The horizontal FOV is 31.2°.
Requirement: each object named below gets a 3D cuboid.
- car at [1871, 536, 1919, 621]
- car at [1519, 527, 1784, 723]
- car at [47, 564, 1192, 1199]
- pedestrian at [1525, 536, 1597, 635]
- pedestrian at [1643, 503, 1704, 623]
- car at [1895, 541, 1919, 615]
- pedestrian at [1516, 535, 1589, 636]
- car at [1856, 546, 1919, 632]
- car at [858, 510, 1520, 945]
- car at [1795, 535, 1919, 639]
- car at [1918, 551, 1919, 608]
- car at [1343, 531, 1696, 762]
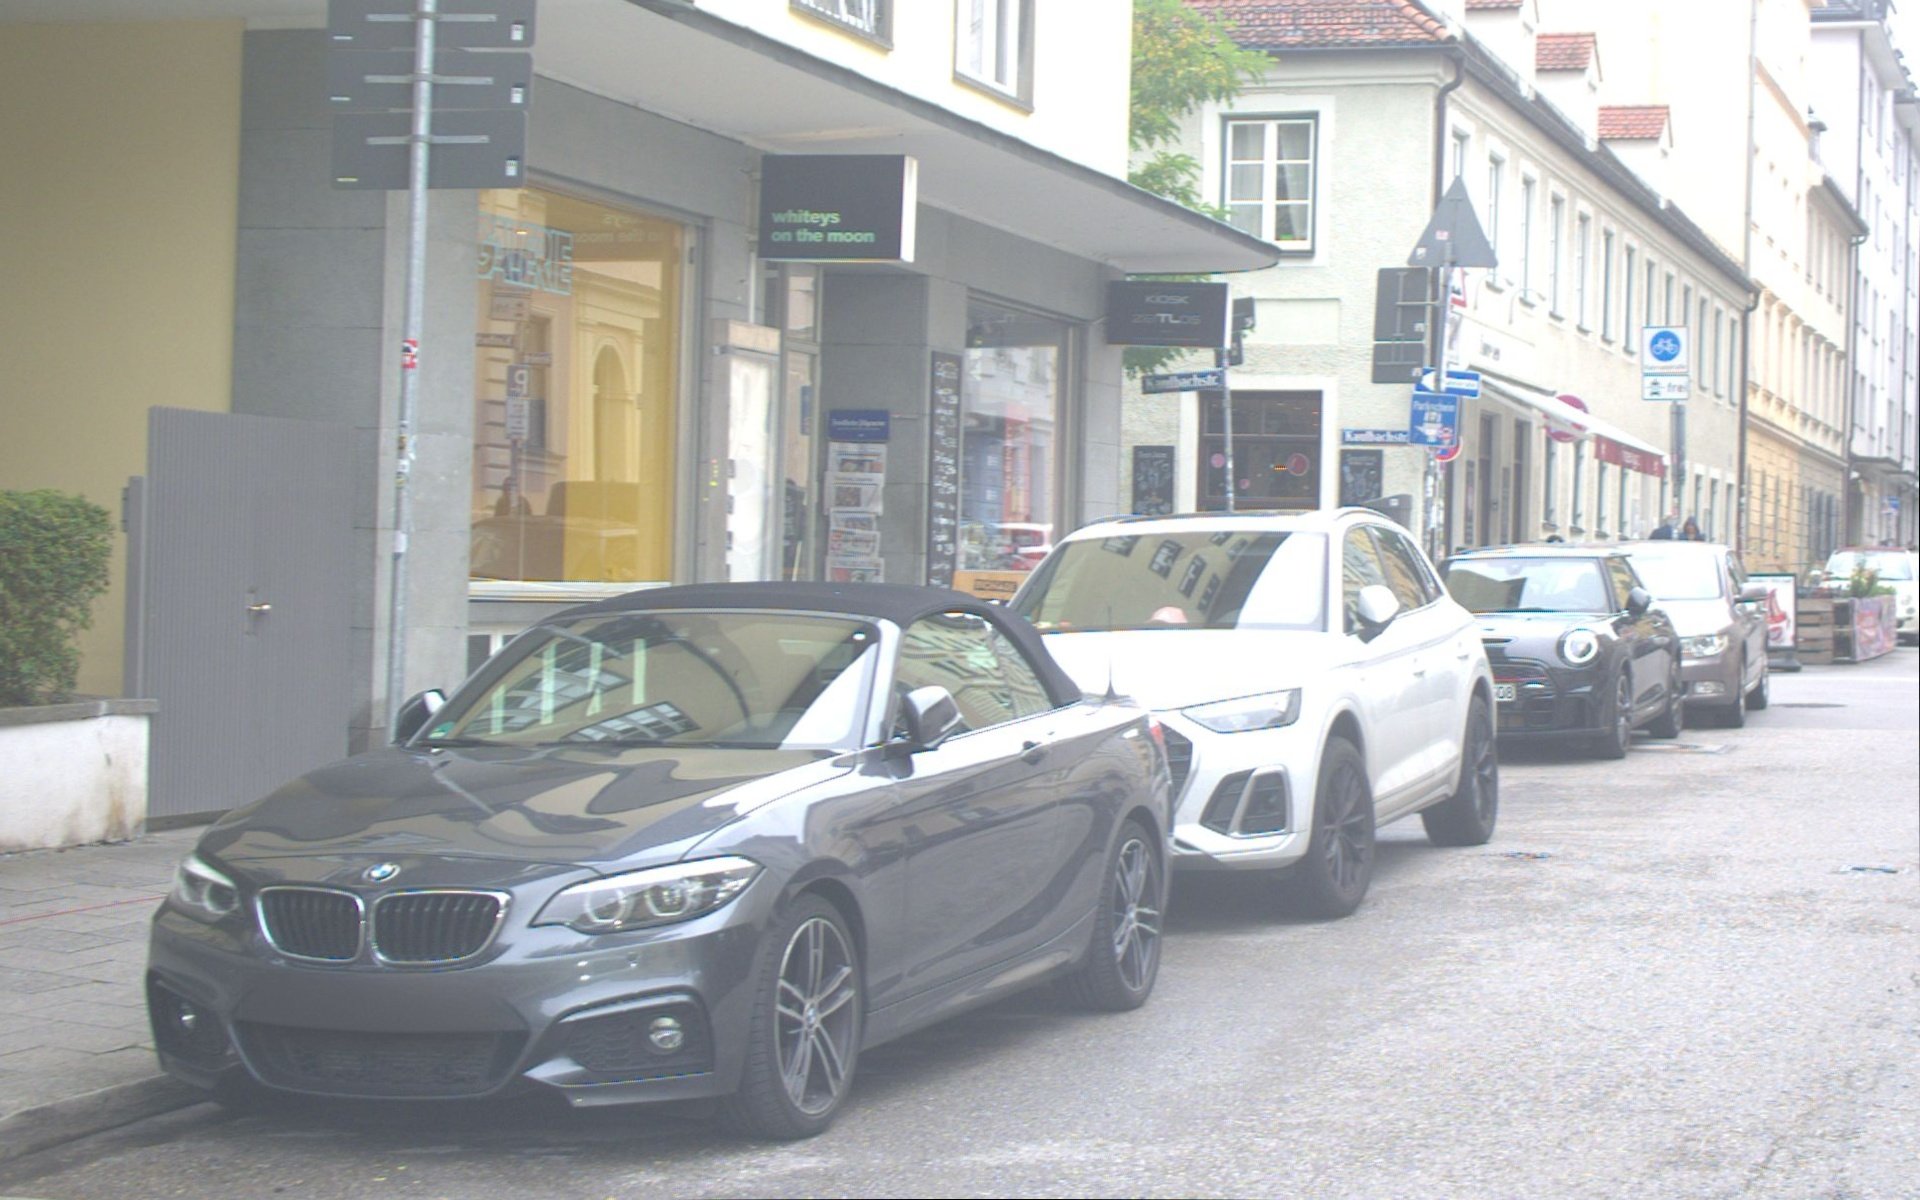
[{"bbox_3d":[17.761,-0.383,63.253,1.756,1.491,4.197,2,1,17],"label":"car"},{"bbox_3d":[5.808,0.146,28.462,1.680,1.466,4.946,1,1,17],"label":"car"},{"bbox_3d":[-0.718,0.622,10.011,1.747,1.406,4.094,0,1,19],"label":"car"},{"bbox_3d":[7.985,-0.184,45.646,0.804,1.285,0.693,2,0,20],"label":"pedestrian"},{"bbox_3d":[11.475,-0.591,55.272,0.823,1.891,0.827,2,0,19],"label":"pedestrian"},{"bbox_3d":[19.505,-0.451,68.183,1.817,1.436,4.128,1,1,16],"label":"car"},{"bbox_3d":[7.754,-0.187,44.961,0.804,1.285,0.693,2,0,20],"label":"pedestrian"},{"bbox_3d":[16.191,-0.206,57.833,1.800,1.334,4.681,2,2,18],"label":"car"},{"bbox_3d":[1.178,0.415,15.120,1.804,1.578,4.334,0,2,19],"label":"car"},{"bbox_3d":[13.877,-0.218,52.913,1.756,1.470,3.711,3,1,16],"label":"car"},{"bbox_3d":[21.290,-0.527,72.723,1.756,1.404,4.099,2,1,18],"label":"car"},{"bbox_3d":[4.000,0.259,24.054,1.681,1.466,4.093,1,1,20],"label":"car"}]
